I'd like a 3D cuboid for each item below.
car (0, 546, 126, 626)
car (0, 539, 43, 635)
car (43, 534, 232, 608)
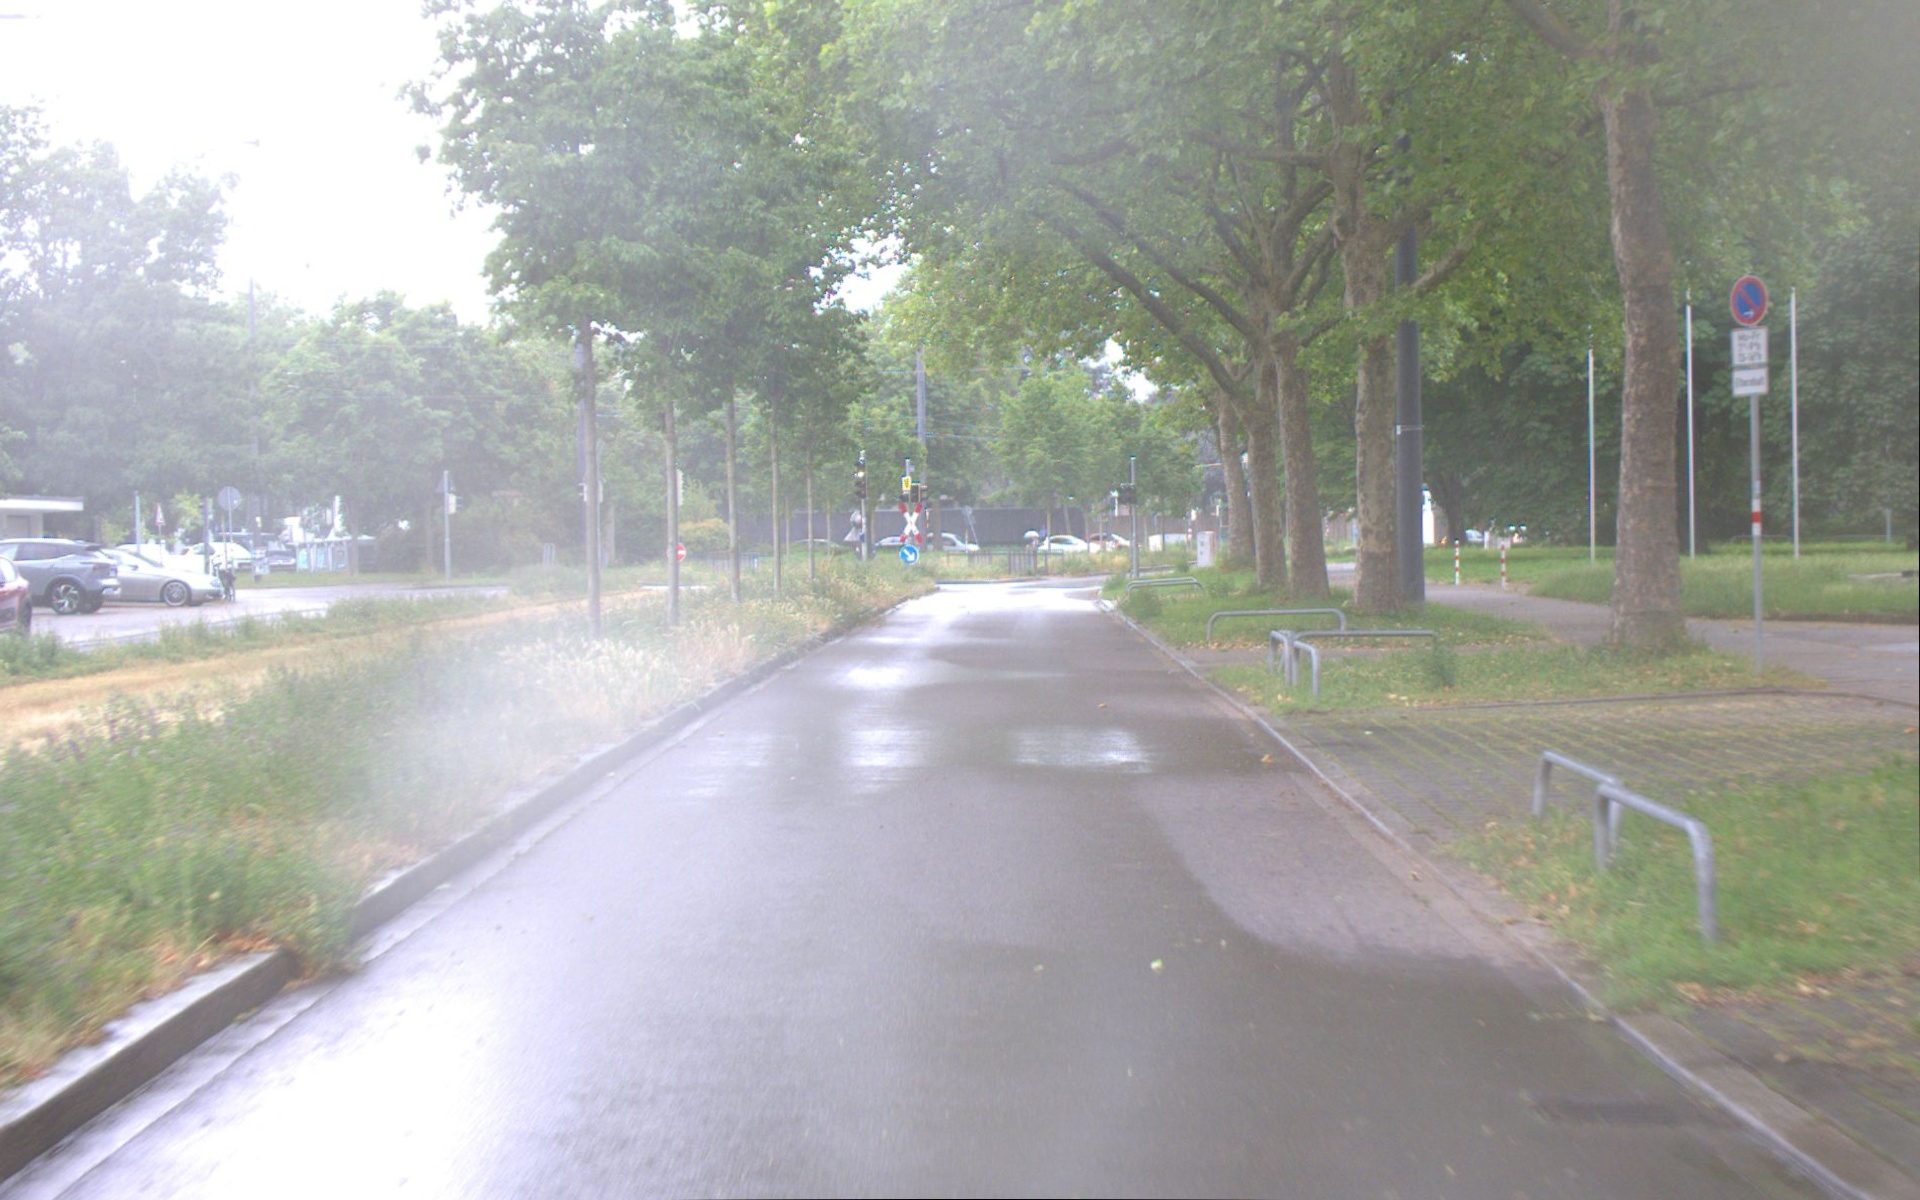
[{"bbox_3d":[-19.999,-0.293,73.181,3.986,1.611,2.000,-2,1,-2],"label":"car"},{"bbox_3d":[-16.144,-0.212,54.659,1.993,1.483,4.206,1,2,0],"label":"car"},{"bbox_3d":[-19.446,-0.704,81.433,3.986,1.611,2.000,-2,1,-2],"label":"car"}]
